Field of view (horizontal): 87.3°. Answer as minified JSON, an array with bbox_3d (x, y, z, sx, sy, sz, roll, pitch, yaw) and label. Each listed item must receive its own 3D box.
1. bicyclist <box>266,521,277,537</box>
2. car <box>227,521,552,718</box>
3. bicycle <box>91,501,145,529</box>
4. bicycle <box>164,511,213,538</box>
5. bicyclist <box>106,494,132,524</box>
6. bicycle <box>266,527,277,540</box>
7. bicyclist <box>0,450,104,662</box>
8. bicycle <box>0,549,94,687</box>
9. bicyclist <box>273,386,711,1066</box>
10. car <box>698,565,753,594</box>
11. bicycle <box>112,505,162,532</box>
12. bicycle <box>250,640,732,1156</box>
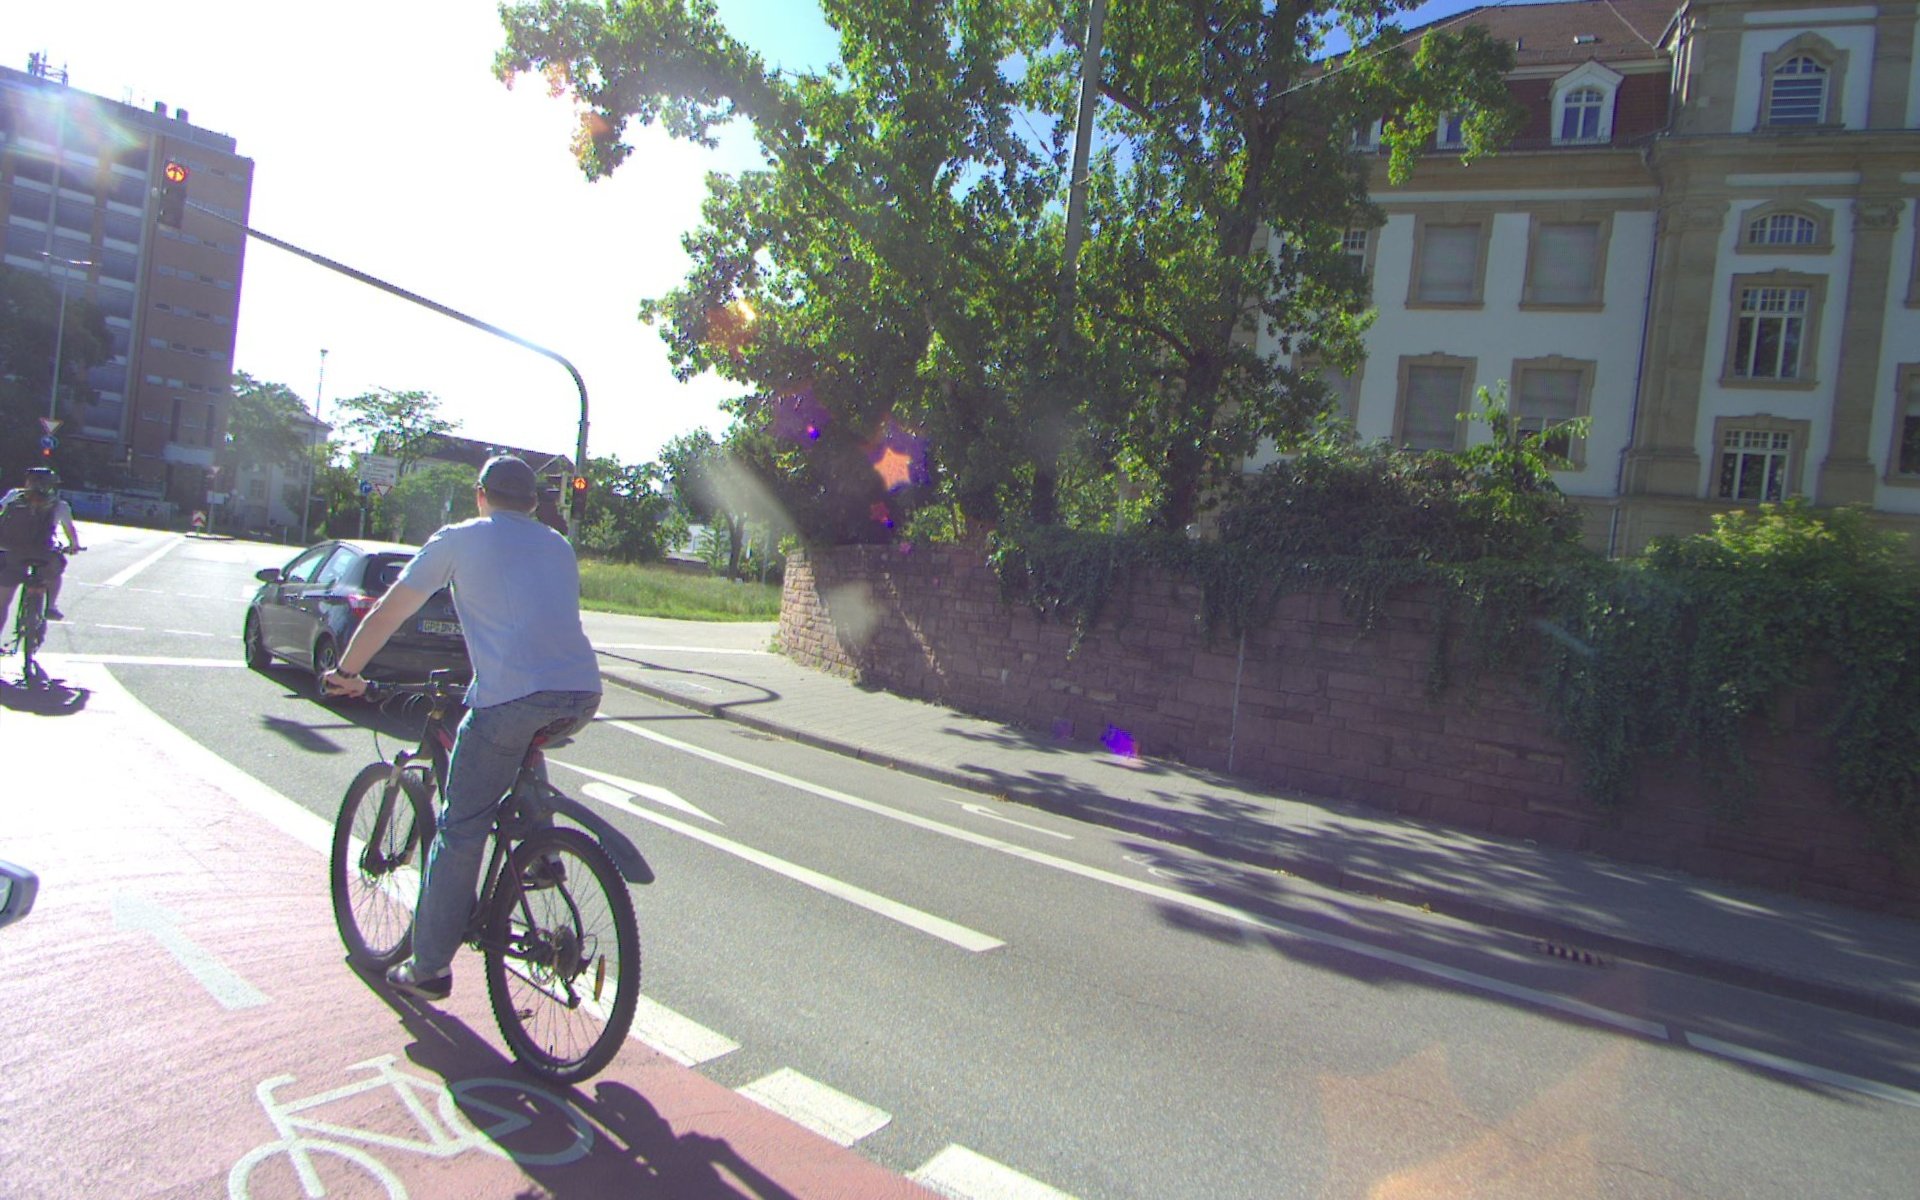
[{"bbox_3d":[-65.982,-6.778,96.433,0.613,1.462,0.813,6,1,-28],"label":"bicyclist"},{"bbox_3d":[-5.991,0.149,10.405,3.608,1.560,1.754,6,-1,42],"label":"car"},{"bbox_3d":[-61.462,-6.193,73.489,2.784,1.559,0.877,8,-2,-34],"label":"bicycle"},{"bbox_3d":[-59.311,-5.798,77.383,2.784,1.559,0.877,8,-2,-34],"label":"bicycle"},{"bbox_3d":[-61.399,-6.635,73.489,1.199,1.919,0.877,7,-1,-33],"label":"bicyclist"},{"bbox_3d":[-66.054,-6.393,96.521,0.603,1.106,1.660,6,1,-27],"label":"bicycle"},{"bbox_3d":[-7.862,-0.376,8.525,0.720,1.645,1.042,8,-1,-44],"label":"bicyclist"},{"bbox_3d":[-8.010,0.116,8.617,0.721,0.971,1.860,8,-1,-44],"label":"bicycle"},{"bbox_3d":[-1.517,0.325,3.248,0.999,1.797,0.749,7,0,39],"label":"bicyclist"},{"bbox_3d":[-20.931,-1.833,89.923,4.310,2.037,1.988,7,-2,-27],"label":"car"},{"bbox_3d":[-62.599,-6.205,76.542,2.791,1.559,0.874,8,-2,-41],"label":"bicycle"},{"bbox_3d":[-1.618,0.791,3.302,1.803,1.090,0.610,6,0,39],"label":"bicycle"}]
